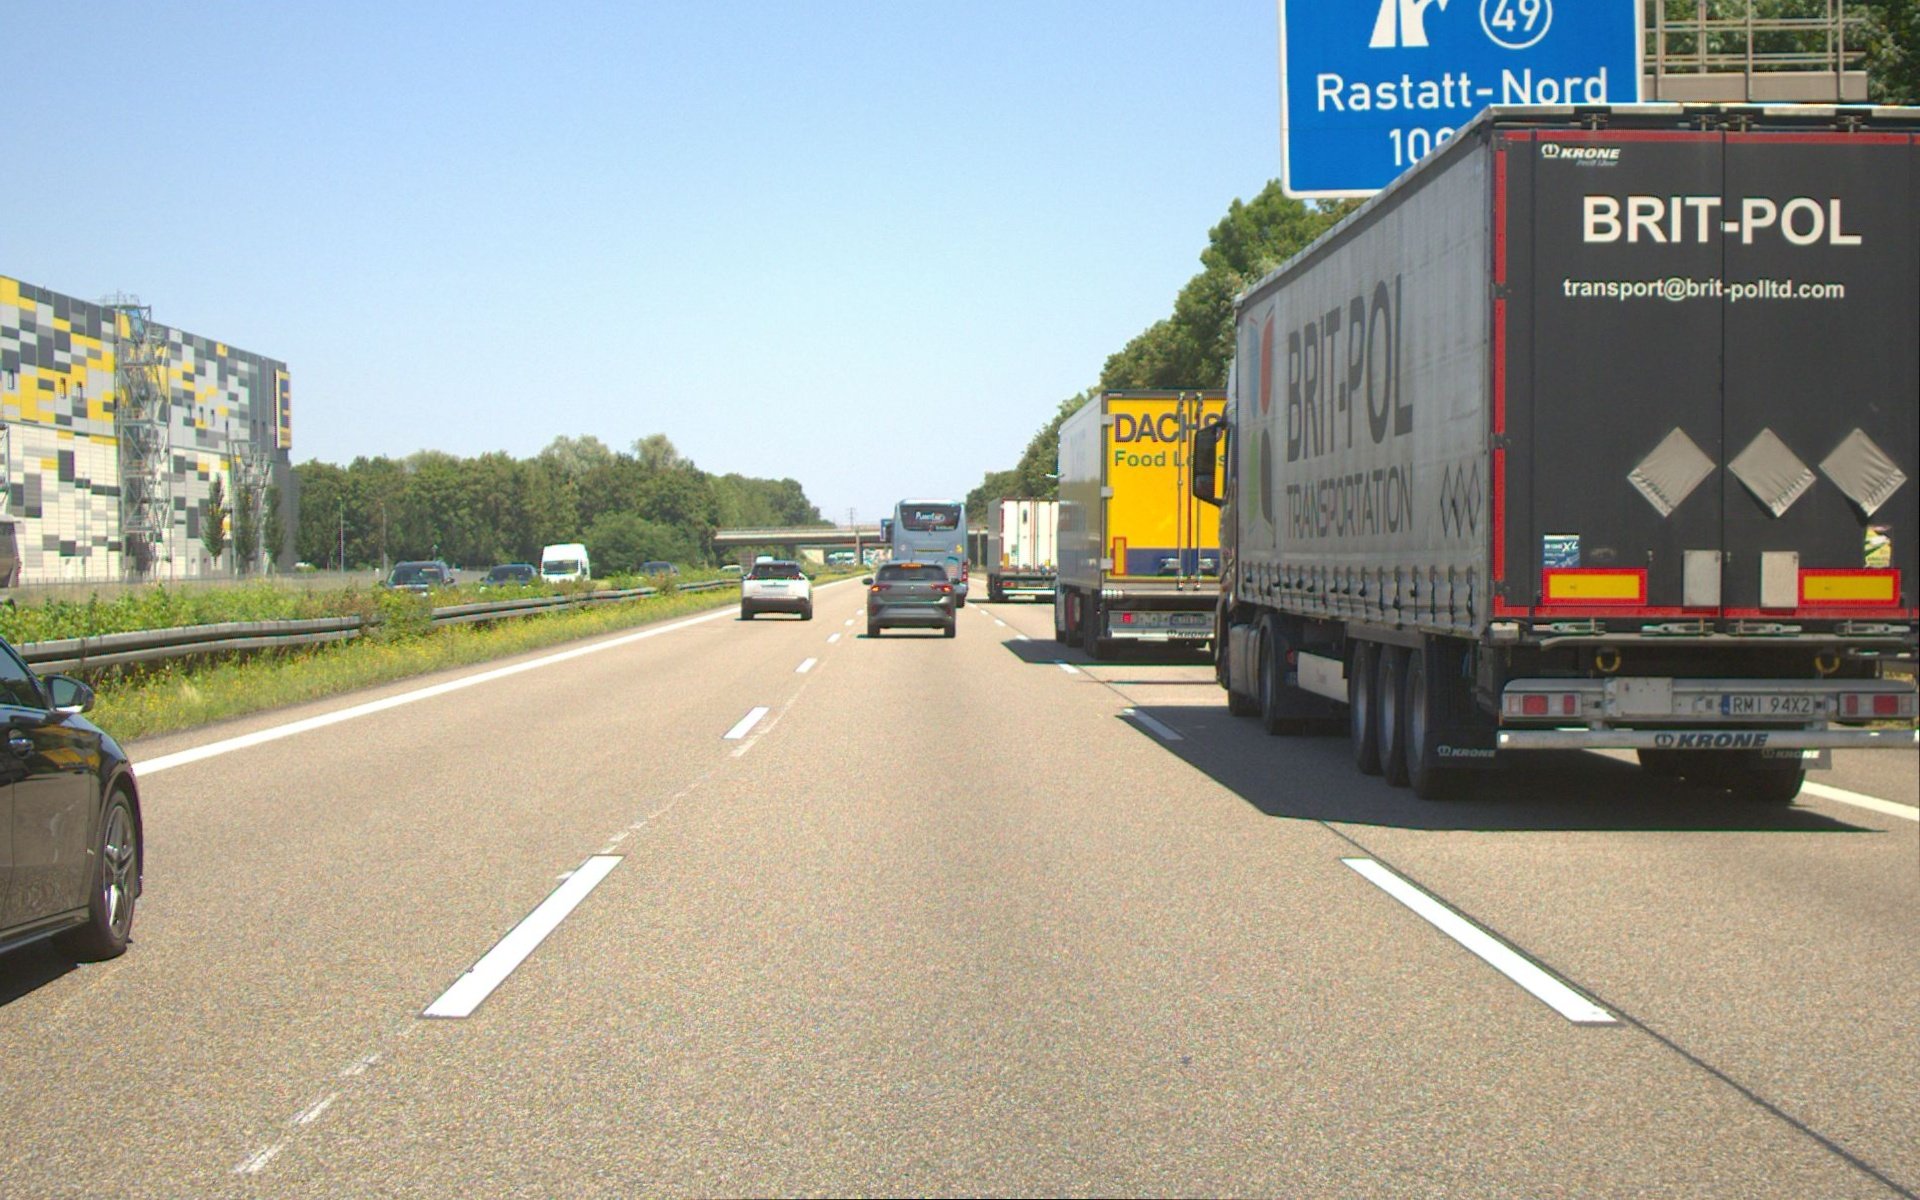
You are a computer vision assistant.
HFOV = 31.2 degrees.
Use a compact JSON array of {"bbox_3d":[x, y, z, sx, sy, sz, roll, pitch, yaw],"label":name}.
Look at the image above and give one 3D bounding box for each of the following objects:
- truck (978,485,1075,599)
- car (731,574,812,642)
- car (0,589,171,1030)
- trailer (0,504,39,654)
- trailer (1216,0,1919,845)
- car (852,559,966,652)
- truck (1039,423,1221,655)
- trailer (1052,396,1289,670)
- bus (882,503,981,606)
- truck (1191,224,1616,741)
[{"bbox_3d":[2.478,-2.190,131.873,3.422,4.112,9.564,-1,1,0],"label":"truck"},{"bbox_3d":[-4.862,0.191,89.199,1.993,1.722,4.131,0,0,-2],"label":"car"},{"bbox_3d":[-3.994,0.673,11.668,1.792,1.407,4.053,0,0,-1],"label":"car"},{"bbox_3d":[-21.978,-0.446,72.611,2.675,3.227,9.259,0,0,-1],"label":"trailer"},{"bbox_3d":[4.130,-0.997,25.553,3.106,4.491,14.896,0,0,-1],"label":"trailer"},{"bbox_3d":[-1.045,0.083,69.863,2.216,1.784,5.393,-1,0,-1],"label":"car"},{"bbox_3d":[3.013,-1.078,62.677,2.813,3.993,6.645,0,0,-1],"label":"truck"},{"bbox_3d":[3.185,-1.033,55.271,2.834,3.940,11.684,0,1,-1],"label":"trailer"},{"bbox_3d":[-1.028,-1.527,117.424,3.062,3.315,8.275,-1,1,-2],"label":"bus"},{"bbox_3d":[4.022,-1.015,32.595,3.087,4.426,6.053,0,0,-1],"label":"truck"}]
